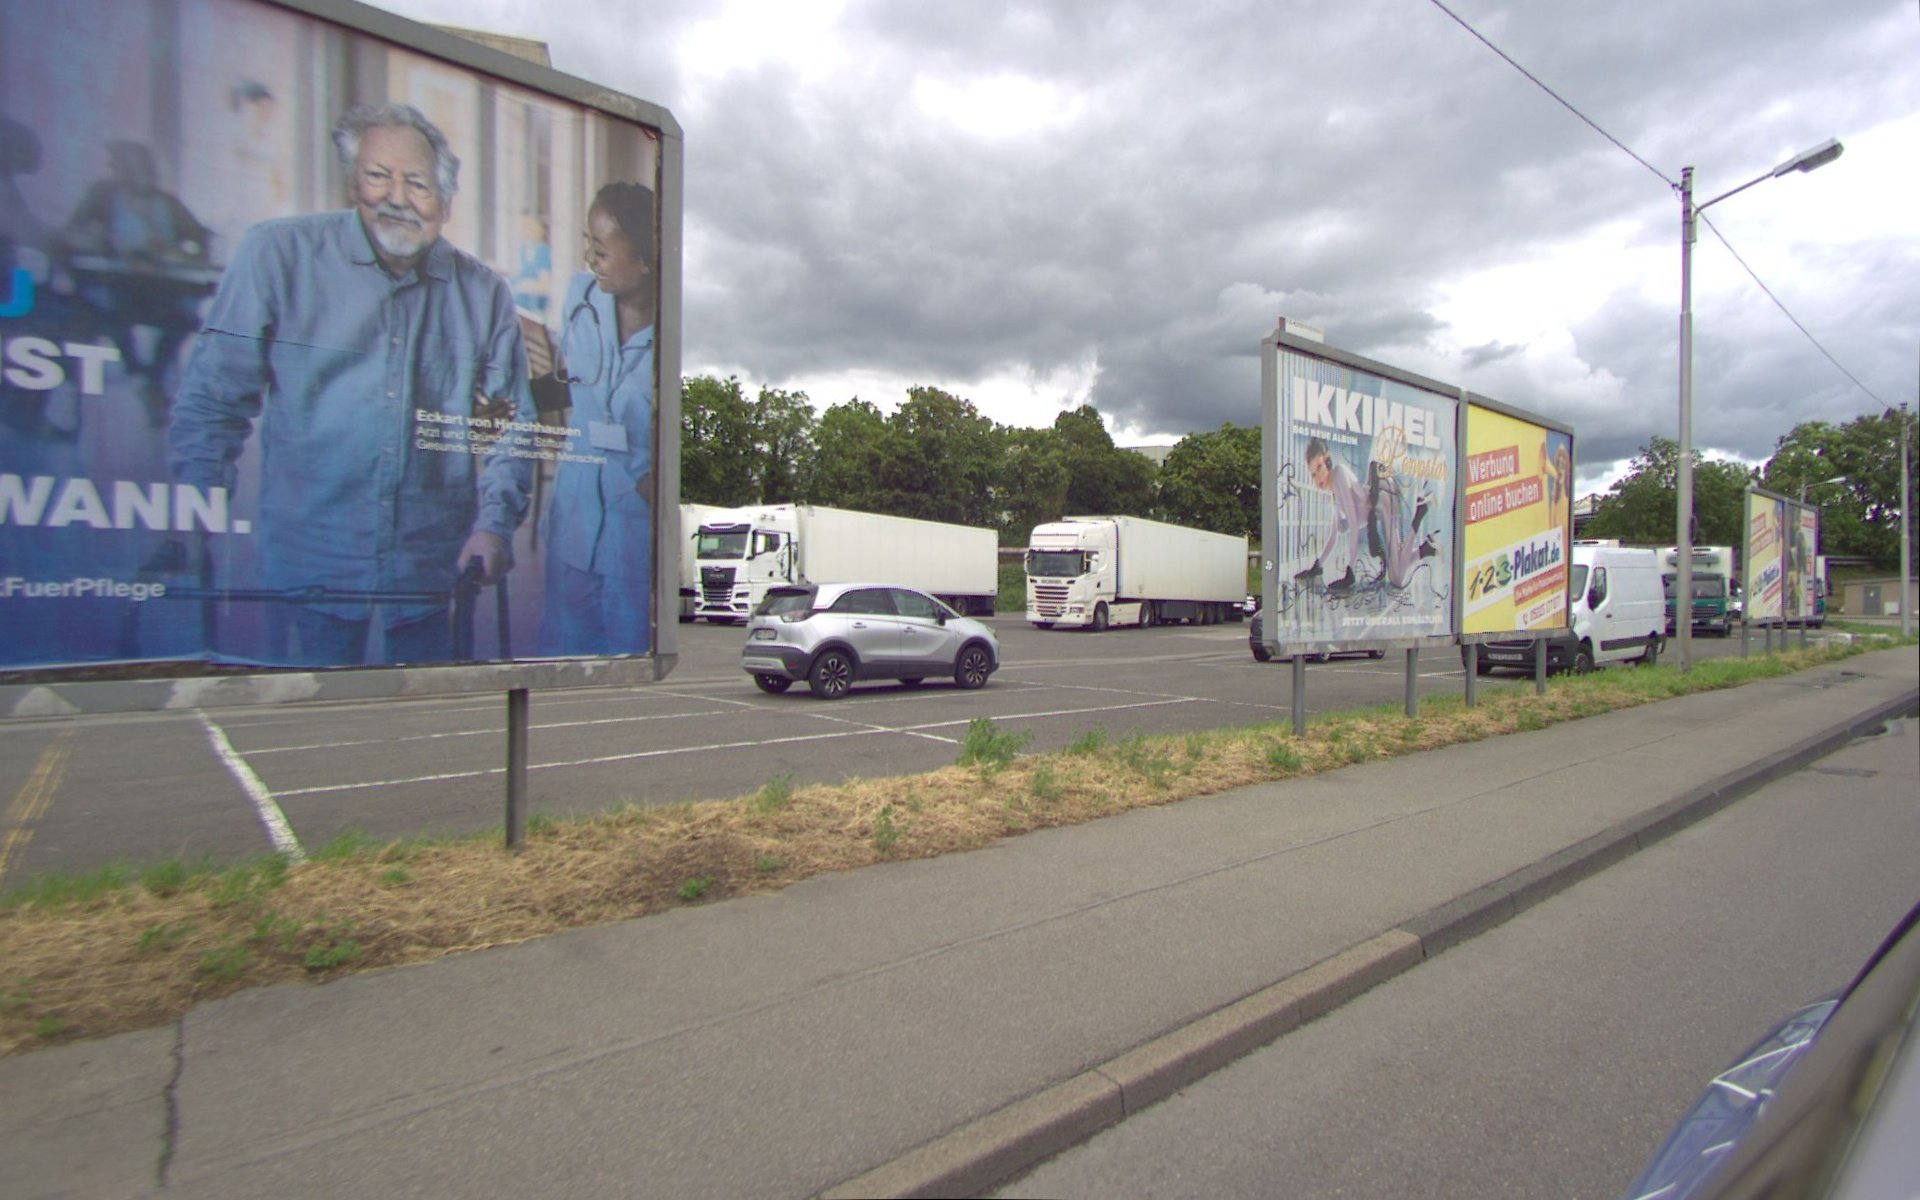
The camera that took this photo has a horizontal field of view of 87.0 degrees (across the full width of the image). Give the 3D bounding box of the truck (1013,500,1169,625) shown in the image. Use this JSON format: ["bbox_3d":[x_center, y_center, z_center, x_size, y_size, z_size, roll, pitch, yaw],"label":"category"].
[{"bbox_3d":[4.948,-1.331,37.193,2.857,4.146,6.671,2,1,35],"label":"truck"}]

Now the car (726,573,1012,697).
[{"bbox_3d":[-1.252,0.461,14.943,3.930,1.591,1.767,0,-1,-41],"label":"car"}]

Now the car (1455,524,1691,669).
[{"bbox_3d":[12.163,-0.085,19.868,5.974,2.446,2.091,0,1,-39],"label":"car"}]

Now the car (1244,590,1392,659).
[{"bbox_3d":[8.547,0.528,24.018,3.980,1.513,1.496,0,1,-39],"label":"car"}]

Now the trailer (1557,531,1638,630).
[{"bbox_3d":[30.902,-0.928,48.941,2.820,4.146,13.238,2,2,33],"label":"trailer"}]

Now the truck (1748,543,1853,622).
[{"bbox_3d":[43.580,-0.913,52.761,2.808,3.758,9.003,1,1,31],"label":"truck"}]

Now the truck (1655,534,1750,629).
[{"bbox_3d":[31.304,-0.796,42.898,2.855,3.675,6.674,2,2,34],"label":"truck"}]

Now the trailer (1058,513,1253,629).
[{"bbox_3d":[8.643,-1.135,42.469,2.822,4.146,13.227,2,2,35],"label":"trailer"}]

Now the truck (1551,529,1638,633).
[{"bbox_3d":[27.340,-0.822,43.447,2.855,4.063,6.674,2,1,34],"label":"truck"}]

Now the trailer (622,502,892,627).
[{"bbox_3d":[-7.332,-1.273,39.498,2.596,4.146,12.303,2,2,32],"label":"trailer"}]

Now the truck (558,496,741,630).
[{"bbox_3d":[-10.428,-1.213,34.448,2.596,4.146,5.590,2,1,32],"label":"truck"}]

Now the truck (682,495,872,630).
[{"bbox_3d":[-6.092,-1.227,34.777,2.596,4.146,6.680,2,1,32],"label":"truck"}]

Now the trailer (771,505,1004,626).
[{"bbox_3d":[-2.390,-1.291,40.765,2.596,4.146,12.303,2,2,32],"label":"trailer"}]
